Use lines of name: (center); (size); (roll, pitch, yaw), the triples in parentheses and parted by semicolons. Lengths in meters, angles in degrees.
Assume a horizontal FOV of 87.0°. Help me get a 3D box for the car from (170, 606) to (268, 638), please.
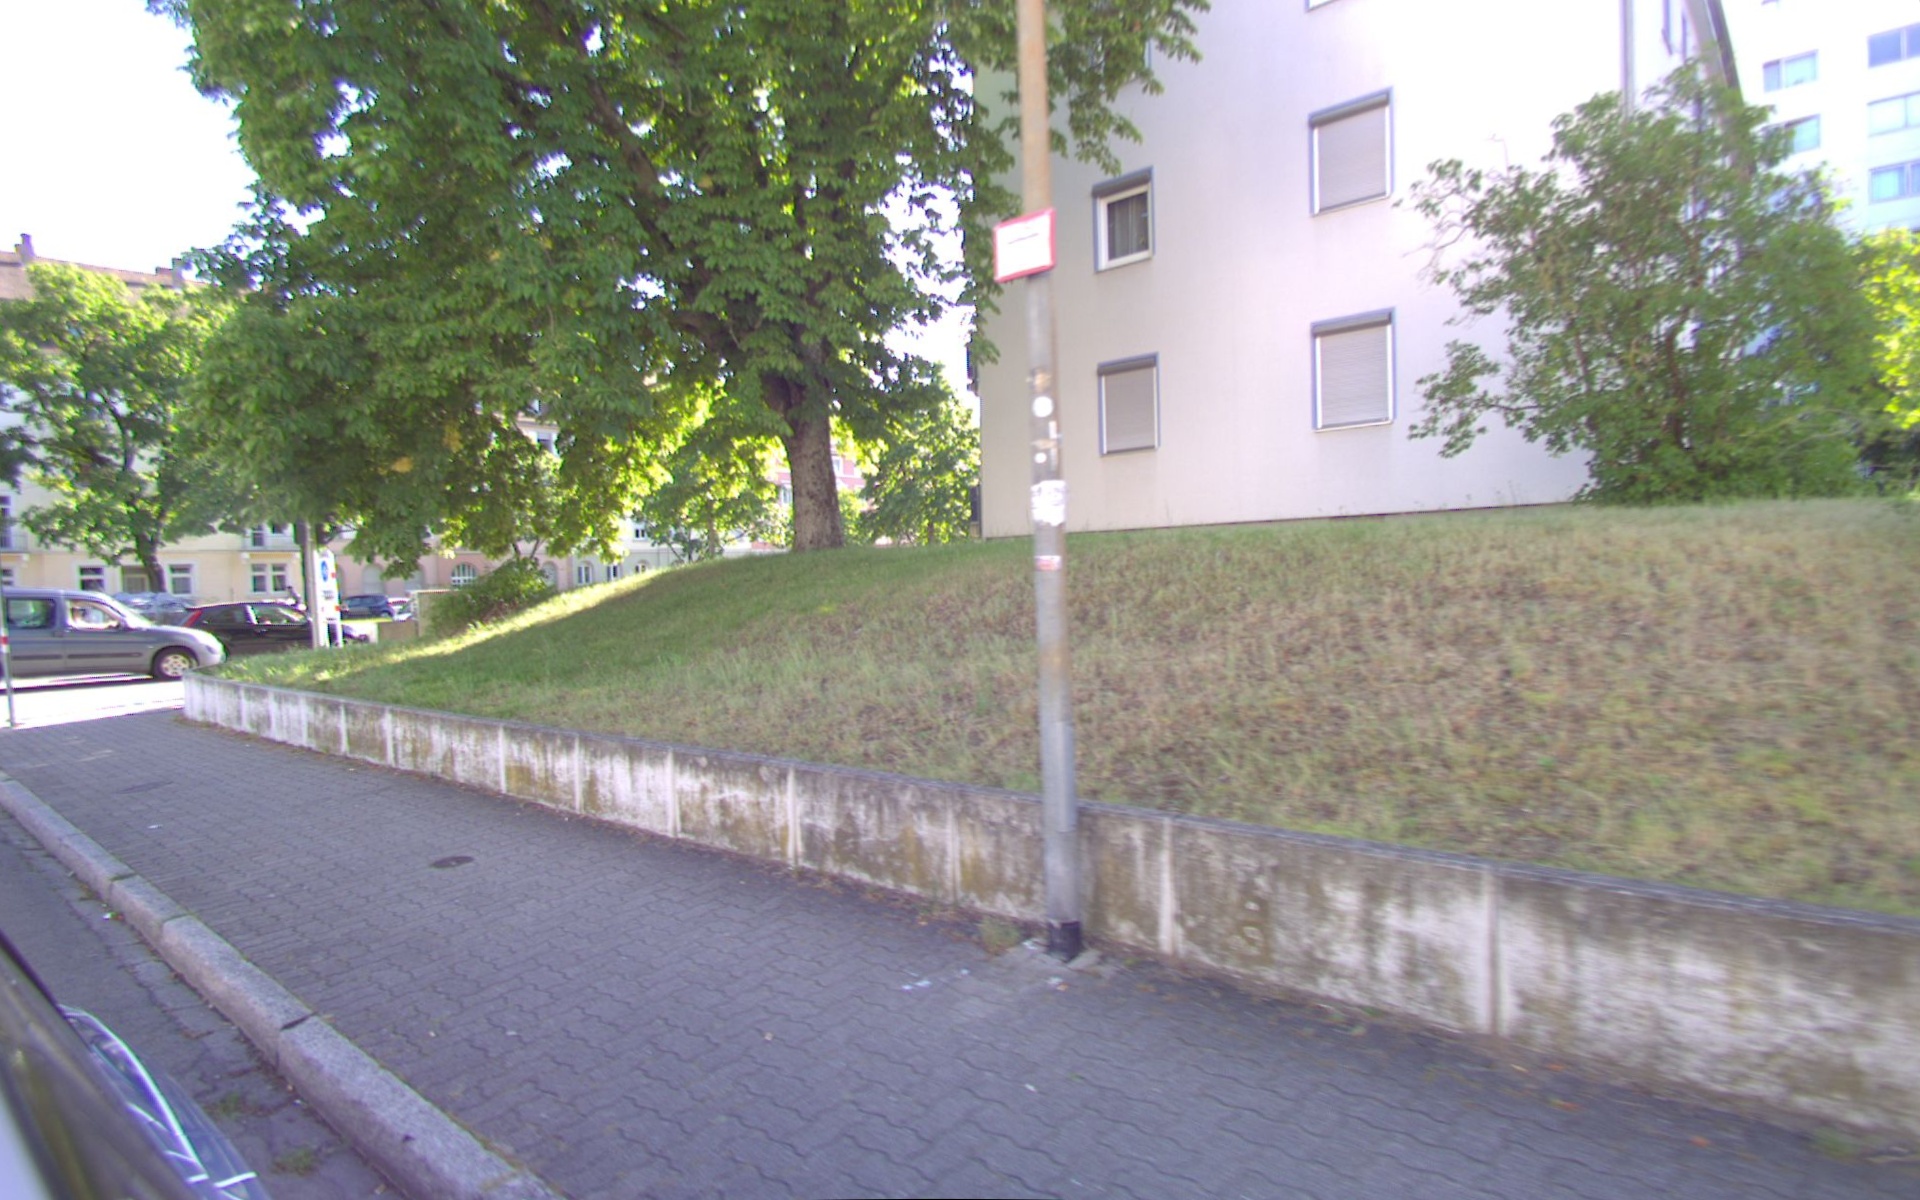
car: (-37.554, 1.077, 51.345); (1.624, 1.456, 3.737); (-1, 0, 42)

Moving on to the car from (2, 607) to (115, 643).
car: (-41.455, 1.130, 46.588); (1.624, 1.456, 3.737); (-1, 0, 42)

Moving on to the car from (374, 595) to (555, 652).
car: (-12.597, 0.567, 25.875); (1.629, 1.282, 3.814); (-1, 0, 41)

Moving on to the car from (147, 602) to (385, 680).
car: (-15.441, 0.850, 22.701); (1.728, 1.508, 4.087); (-1, 0, 41)

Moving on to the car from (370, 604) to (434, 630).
car: (-34.698, 1.036, 62.954); (1.544, 1.519, 3.152); (-1, 0, 40)

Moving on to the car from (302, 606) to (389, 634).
car: (-33.752, 1.082, 55.650); (1.624, 1.361, 3.737); (-1, 0, 42)

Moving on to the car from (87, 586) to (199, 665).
car: (-18.960, 0.563, 23.448); (3.306, 1.667, 1.655); (-1, 0, 45)

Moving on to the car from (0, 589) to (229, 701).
car: (-15.708, 0.748, 17.978); (1.728, 1.753, 4.088); (0, 2, 40)
